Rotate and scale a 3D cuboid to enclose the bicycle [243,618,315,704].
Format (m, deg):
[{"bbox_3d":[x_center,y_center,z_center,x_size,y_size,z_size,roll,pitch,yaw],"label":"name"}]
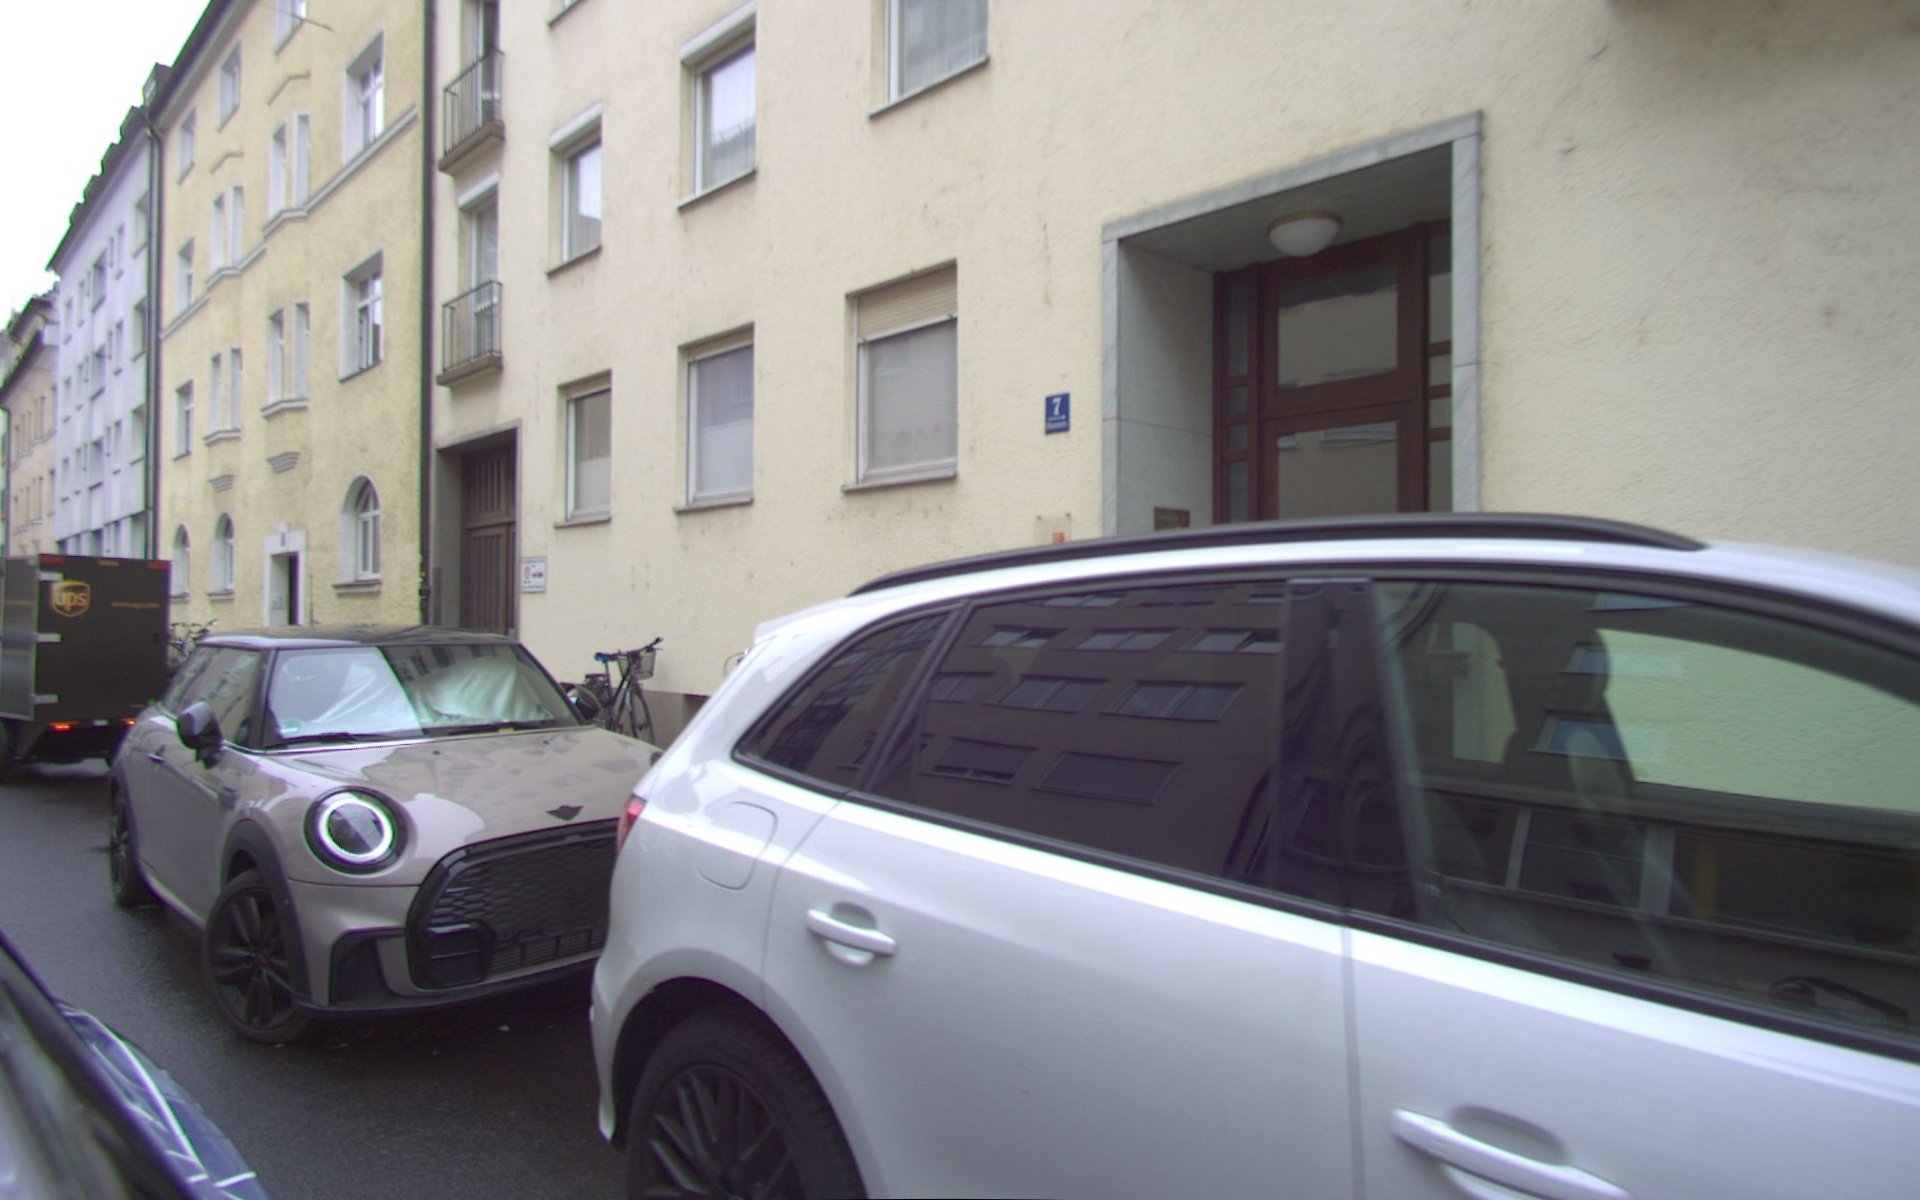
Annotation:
[{"bbox_3d":[-10.882,0.944,16.154,1.551,1.288,0.529,0,1,41],"label":"bicycle"}]

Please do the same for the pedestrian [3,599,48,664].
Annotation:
[{"bbox_3d":[-26.213,0.860,28.386,1.067,1.778,0.830,-1,-1,42],"label":"pedestrian"}]

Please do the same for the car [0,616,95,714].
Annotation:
[{"bbox_3d":[-15.501,0.998,16.667,3.476,1.471,1.545,-1,-2,44],"label":"car"}]

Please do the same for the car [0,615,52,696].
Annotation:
[{"bbox_3d":[-19.072,1.035,19.738,3.762,1.471,1.546,-1,-2,41],"label":"car"}]

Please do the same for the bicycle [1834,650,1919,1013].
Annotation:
[{"bbox_3d":[3.830,0.762,3.048,1.789,1.170,0.575,-1,-3,43],"label":"bicycle"}]

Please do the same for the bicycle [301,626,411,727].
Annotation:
[{"bbox_3d":[-8.273,1.017,13.843,1.546,1.288,0.590,-1,1,30],"label":"bicycle"}]

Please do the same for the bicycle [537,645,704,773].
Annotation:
[{"bbox_3d":[-3.191,0.956,9.410,1.813,1.035,0.687,-2,-1,43],"label":"bicycle"}]

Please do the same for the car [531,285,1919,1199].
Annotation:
[{"bbox_3d":[1.302,0.634,1.367,4.365,1.688,1.747,-1,-2,42],"label":"car"}]

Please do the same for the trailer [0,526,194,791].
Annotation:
[{"bbox_3d":[-8.773,0.473,9.583,3.307,2.132,1.345,0,0,32],"label":"trailer"}]

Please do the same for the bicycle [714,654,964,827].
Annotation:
[{"bbox_3d":[-0.901,0.928,7.241,1.812,1.035,0.723,-2,-1,40],"label":"bicycle"}]

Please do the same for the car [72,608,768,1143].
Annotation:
[{"bbox_3d":[-2.710,0.785,4.655,3.802,1.446,1.634,-1,-2,42],"label":"car"}]

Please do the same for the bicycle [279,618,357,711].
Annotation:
[{"bbox_3d":[-9.570,0.926,15.072,1.551,1.288,0.529,0,2,41],"label":"bicycle"}]

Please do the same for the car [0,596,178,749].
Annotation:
[{"bbox_3d":[-11.701,0.828,13.067,4.415,1.672,1.858,-1,-2,44],"label":"car"}]

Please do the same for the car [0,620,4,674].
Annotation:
[{"bbox_3d":[-26.995,1.178,26.941,4.249,1.397,1.792,0,-3,41],"label":"car"}]
